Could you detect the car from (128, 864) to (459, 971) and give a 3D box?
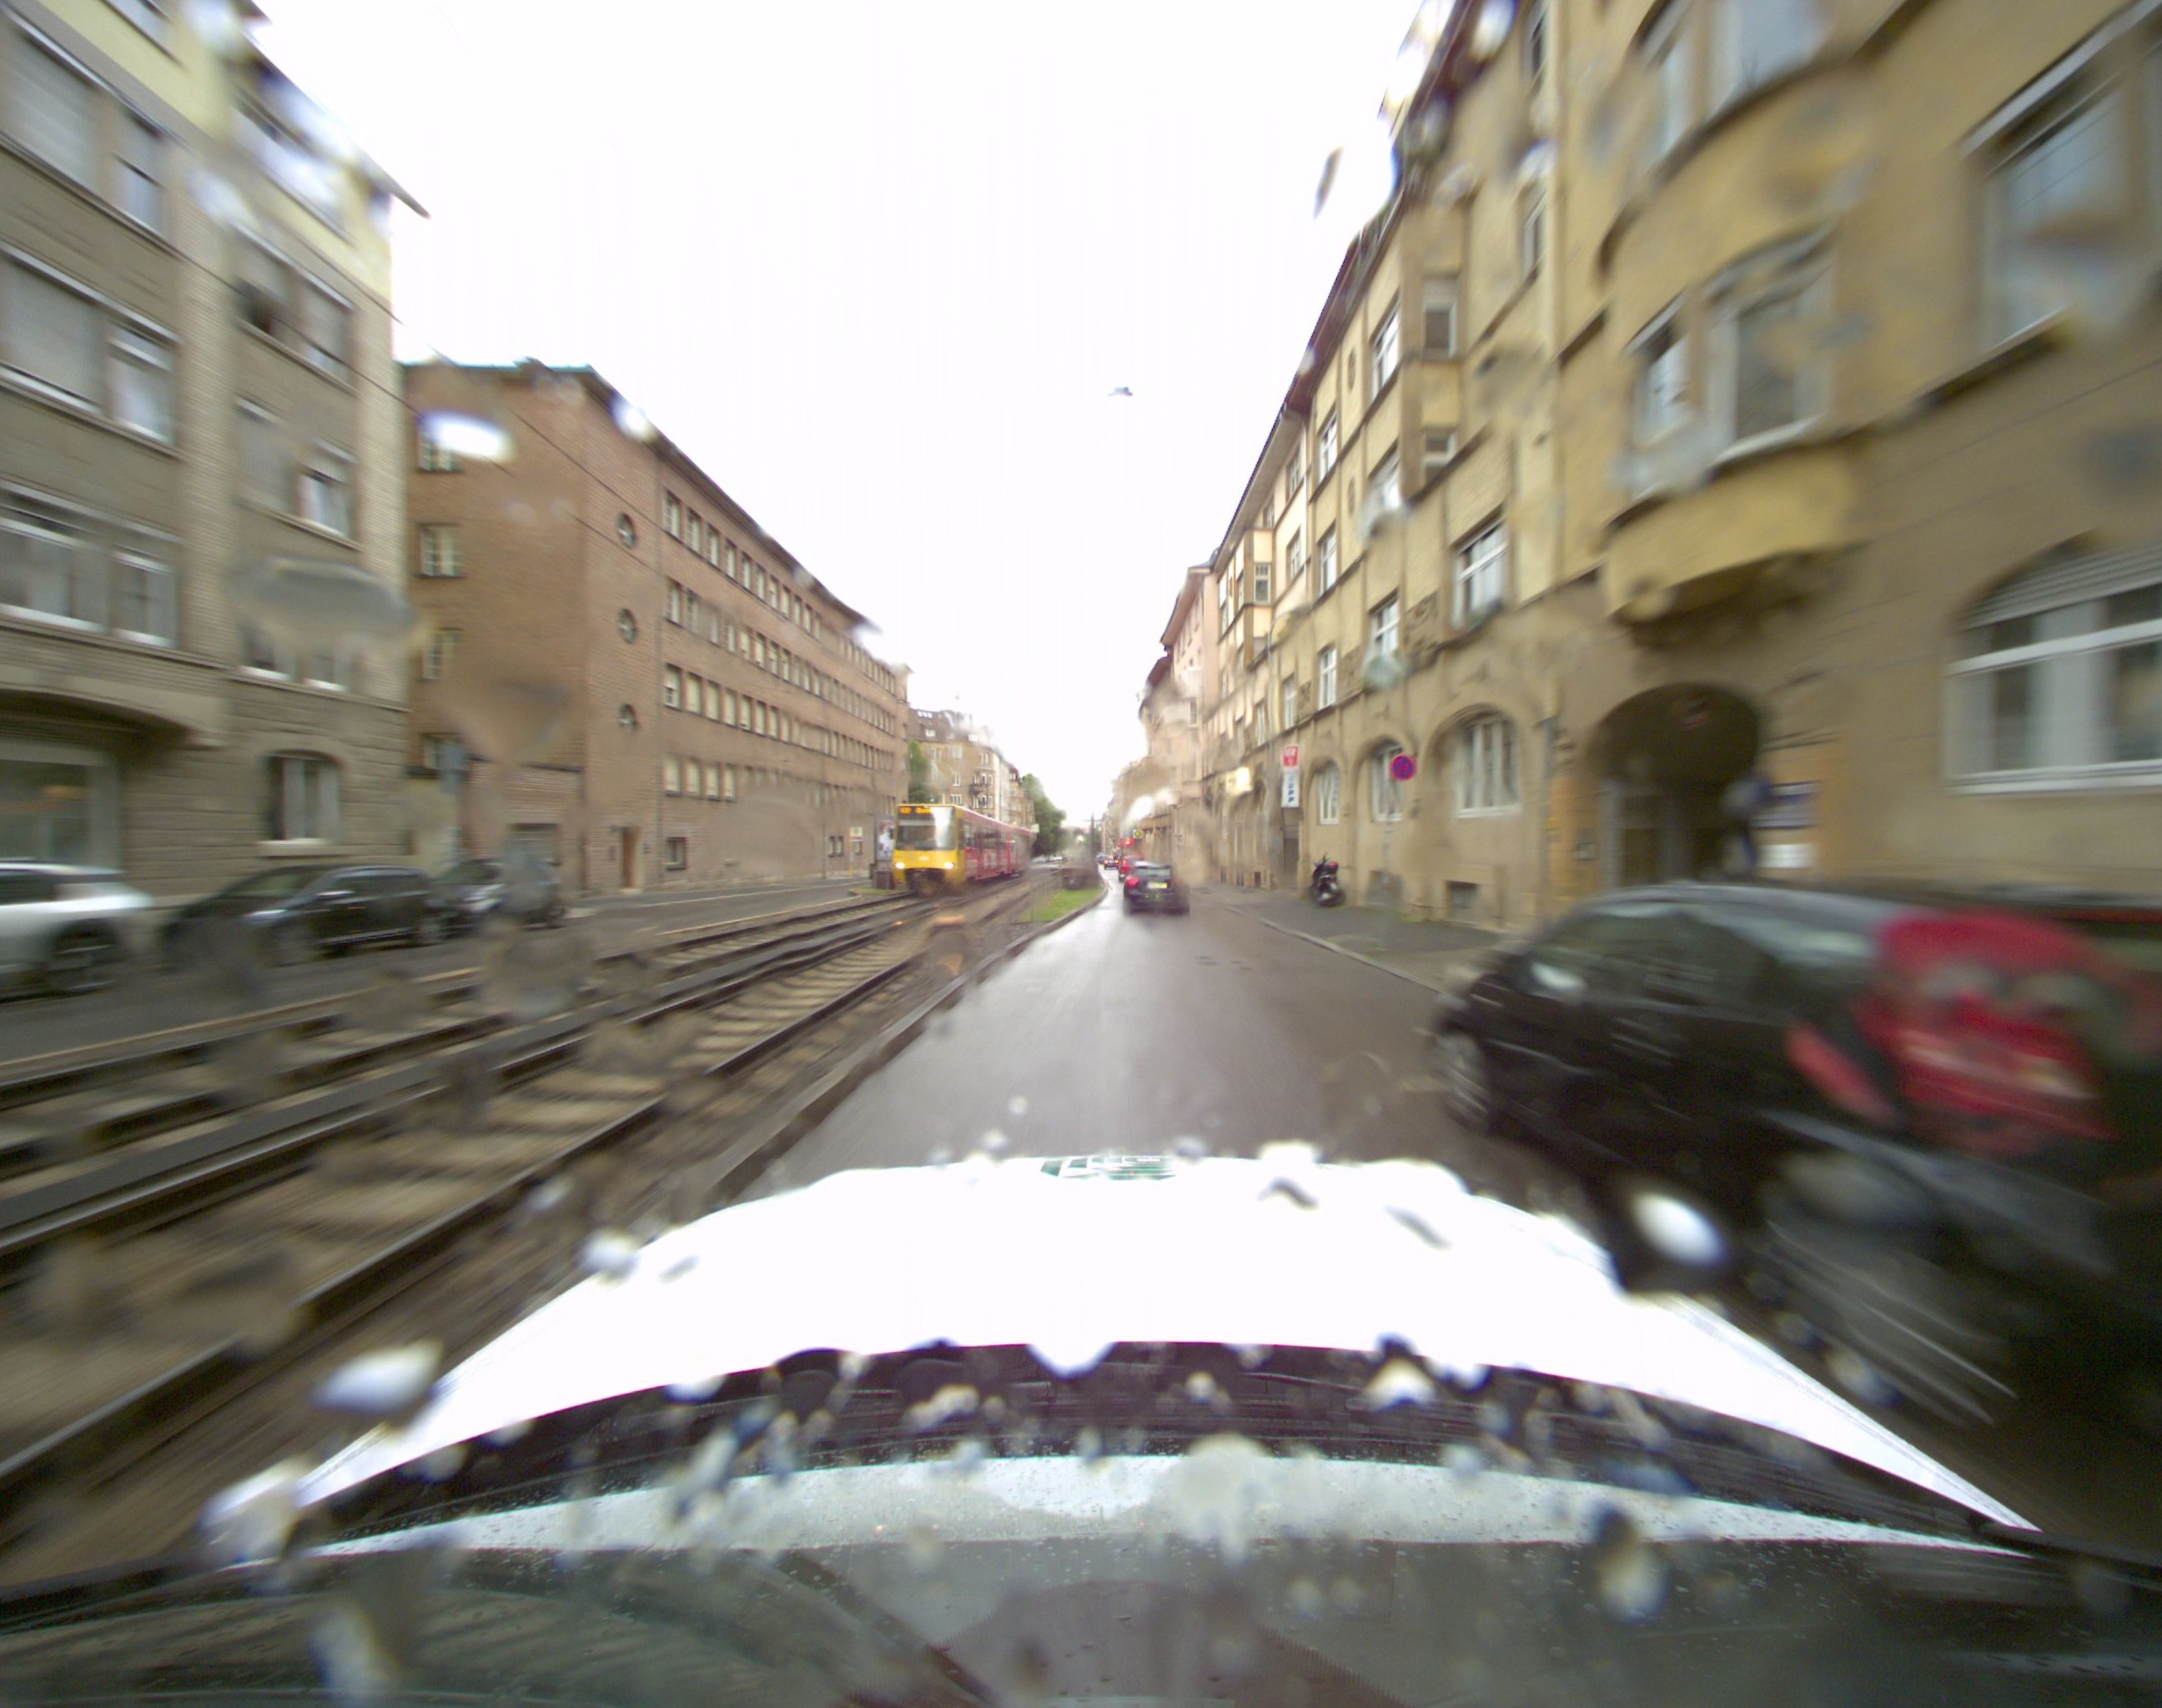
[{"bbox_3d":[-12.210,0.899,13.016,1.661,1.415,3.687,0,0,0],"label":"car"}]

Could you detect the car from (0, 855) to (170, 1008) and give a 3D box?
[{"bbox_3d":[-12.330,0.817,7.959,1.955,1.605,4.328,0,0,0],"label":"car"}]

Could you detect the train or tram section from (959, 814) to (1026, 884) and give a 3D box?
[{"bbox_3d":[-5.687,-0.256,55.364,2.736,4.062,15.659,-1,0,0],"label":"train or tram section"}]

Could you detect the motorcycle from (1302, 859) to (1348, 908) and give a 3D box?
[{"bbox_3d":[6.507,0.758,21.837,0.554,1.160,2.270,-5,0,3],"label":"motorcycle"}]

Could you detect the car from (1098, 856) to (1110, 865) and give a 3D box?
[{"bbox_3d":[4.034,1.131,142.768,2.127,1.525,4.246,0,-1,1],"label":"car"}]

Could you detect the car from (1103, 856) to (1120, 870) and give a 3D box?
[{"bbox_3d":[3.451,0.976,91.996,1.879,1.525,4.248,0,-1,3],"label":"car"}]

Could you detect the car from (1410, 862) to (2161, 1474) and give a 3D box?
[{"bbox_3d":[2.938,0.780,3.613,1.587,1.440,3.308,1,-1,-1],"label":"car"}]

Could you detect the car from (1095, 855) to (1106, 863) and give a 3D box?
[{"bbox_3d":[3.884,0.934,158.757,2.127,1.525,4.246,0,-1,1],"label":"car"}]

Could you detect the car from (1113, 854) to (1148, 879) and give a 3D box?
[{"bbox_3d":[2.978,0.753,49.972,1.986,1.525,4.246,0,-1,1],"label":"car"}]

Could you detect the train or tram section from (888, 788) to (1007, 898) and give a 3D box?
[{"bbox_3d":[-5.763,-0.388,39.014,2.736,4.062,17.212,-1,0,0],"label":"train or tram section"}]

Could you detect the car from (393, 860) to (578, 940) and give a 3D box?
[{"bbox_3d":[-12.101,0.873,16.781,1.567,1.467,3.044,0,0,-1],"label":"car"}]

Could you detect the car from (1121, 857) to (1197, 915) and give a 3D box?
[{"bbox_3d":[2.108,0.838,22.917,1.828,1.453,3.902,-1,-1,1],"label":"car"}]
